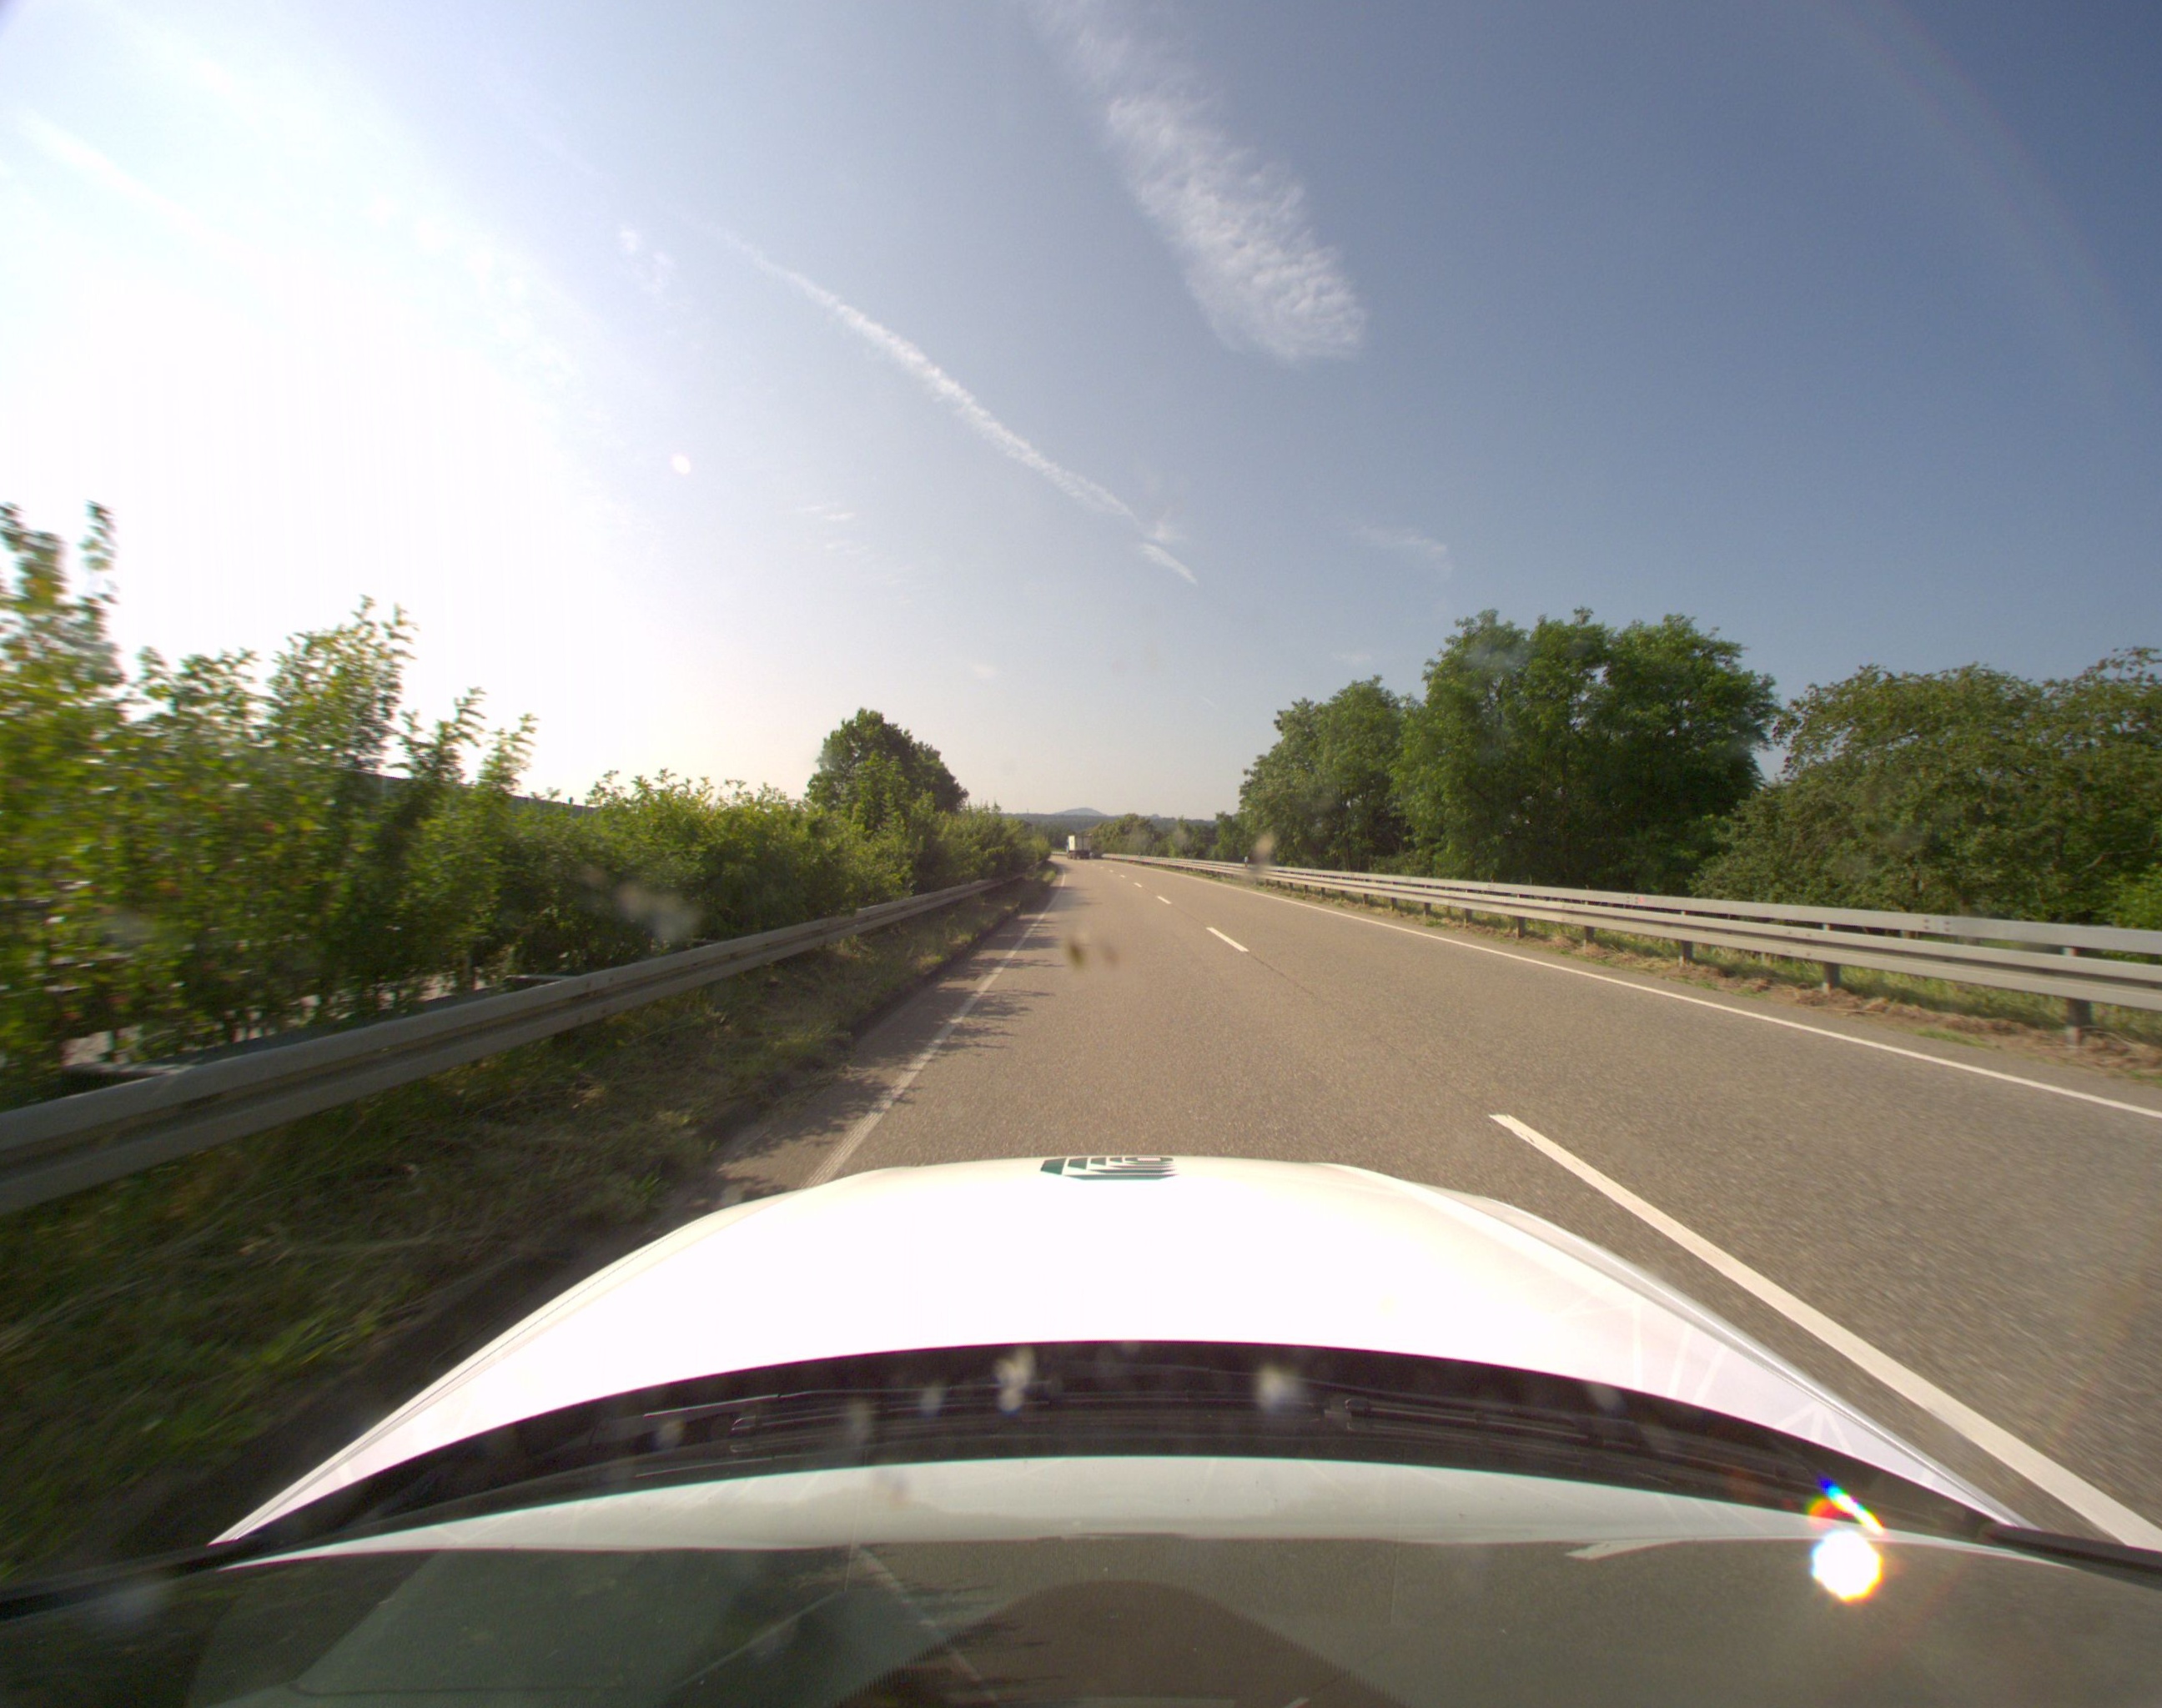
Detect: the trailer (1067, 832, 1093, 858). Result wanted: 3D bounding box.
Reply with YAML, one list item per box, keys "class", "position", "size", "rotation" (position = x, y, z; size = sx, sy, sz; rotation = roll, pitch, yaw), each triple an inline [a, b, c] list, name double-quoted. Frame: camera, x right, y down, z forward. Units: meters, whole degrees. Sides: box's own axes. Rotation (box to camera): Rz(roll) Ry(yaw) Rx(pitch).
- class: "trailer"
  position: [-0.214, -1.448, 132.131]
  size: [2.679, 3.907, 9.642]
  rotation: [-1, 1, -9]

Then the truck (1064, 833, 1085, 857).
- class: "truck"
  position: [-1.189, -1.508, 138.031]
  size: [2.658, 3.896, 5.630]
  rotation: [-1, 1, -9]
